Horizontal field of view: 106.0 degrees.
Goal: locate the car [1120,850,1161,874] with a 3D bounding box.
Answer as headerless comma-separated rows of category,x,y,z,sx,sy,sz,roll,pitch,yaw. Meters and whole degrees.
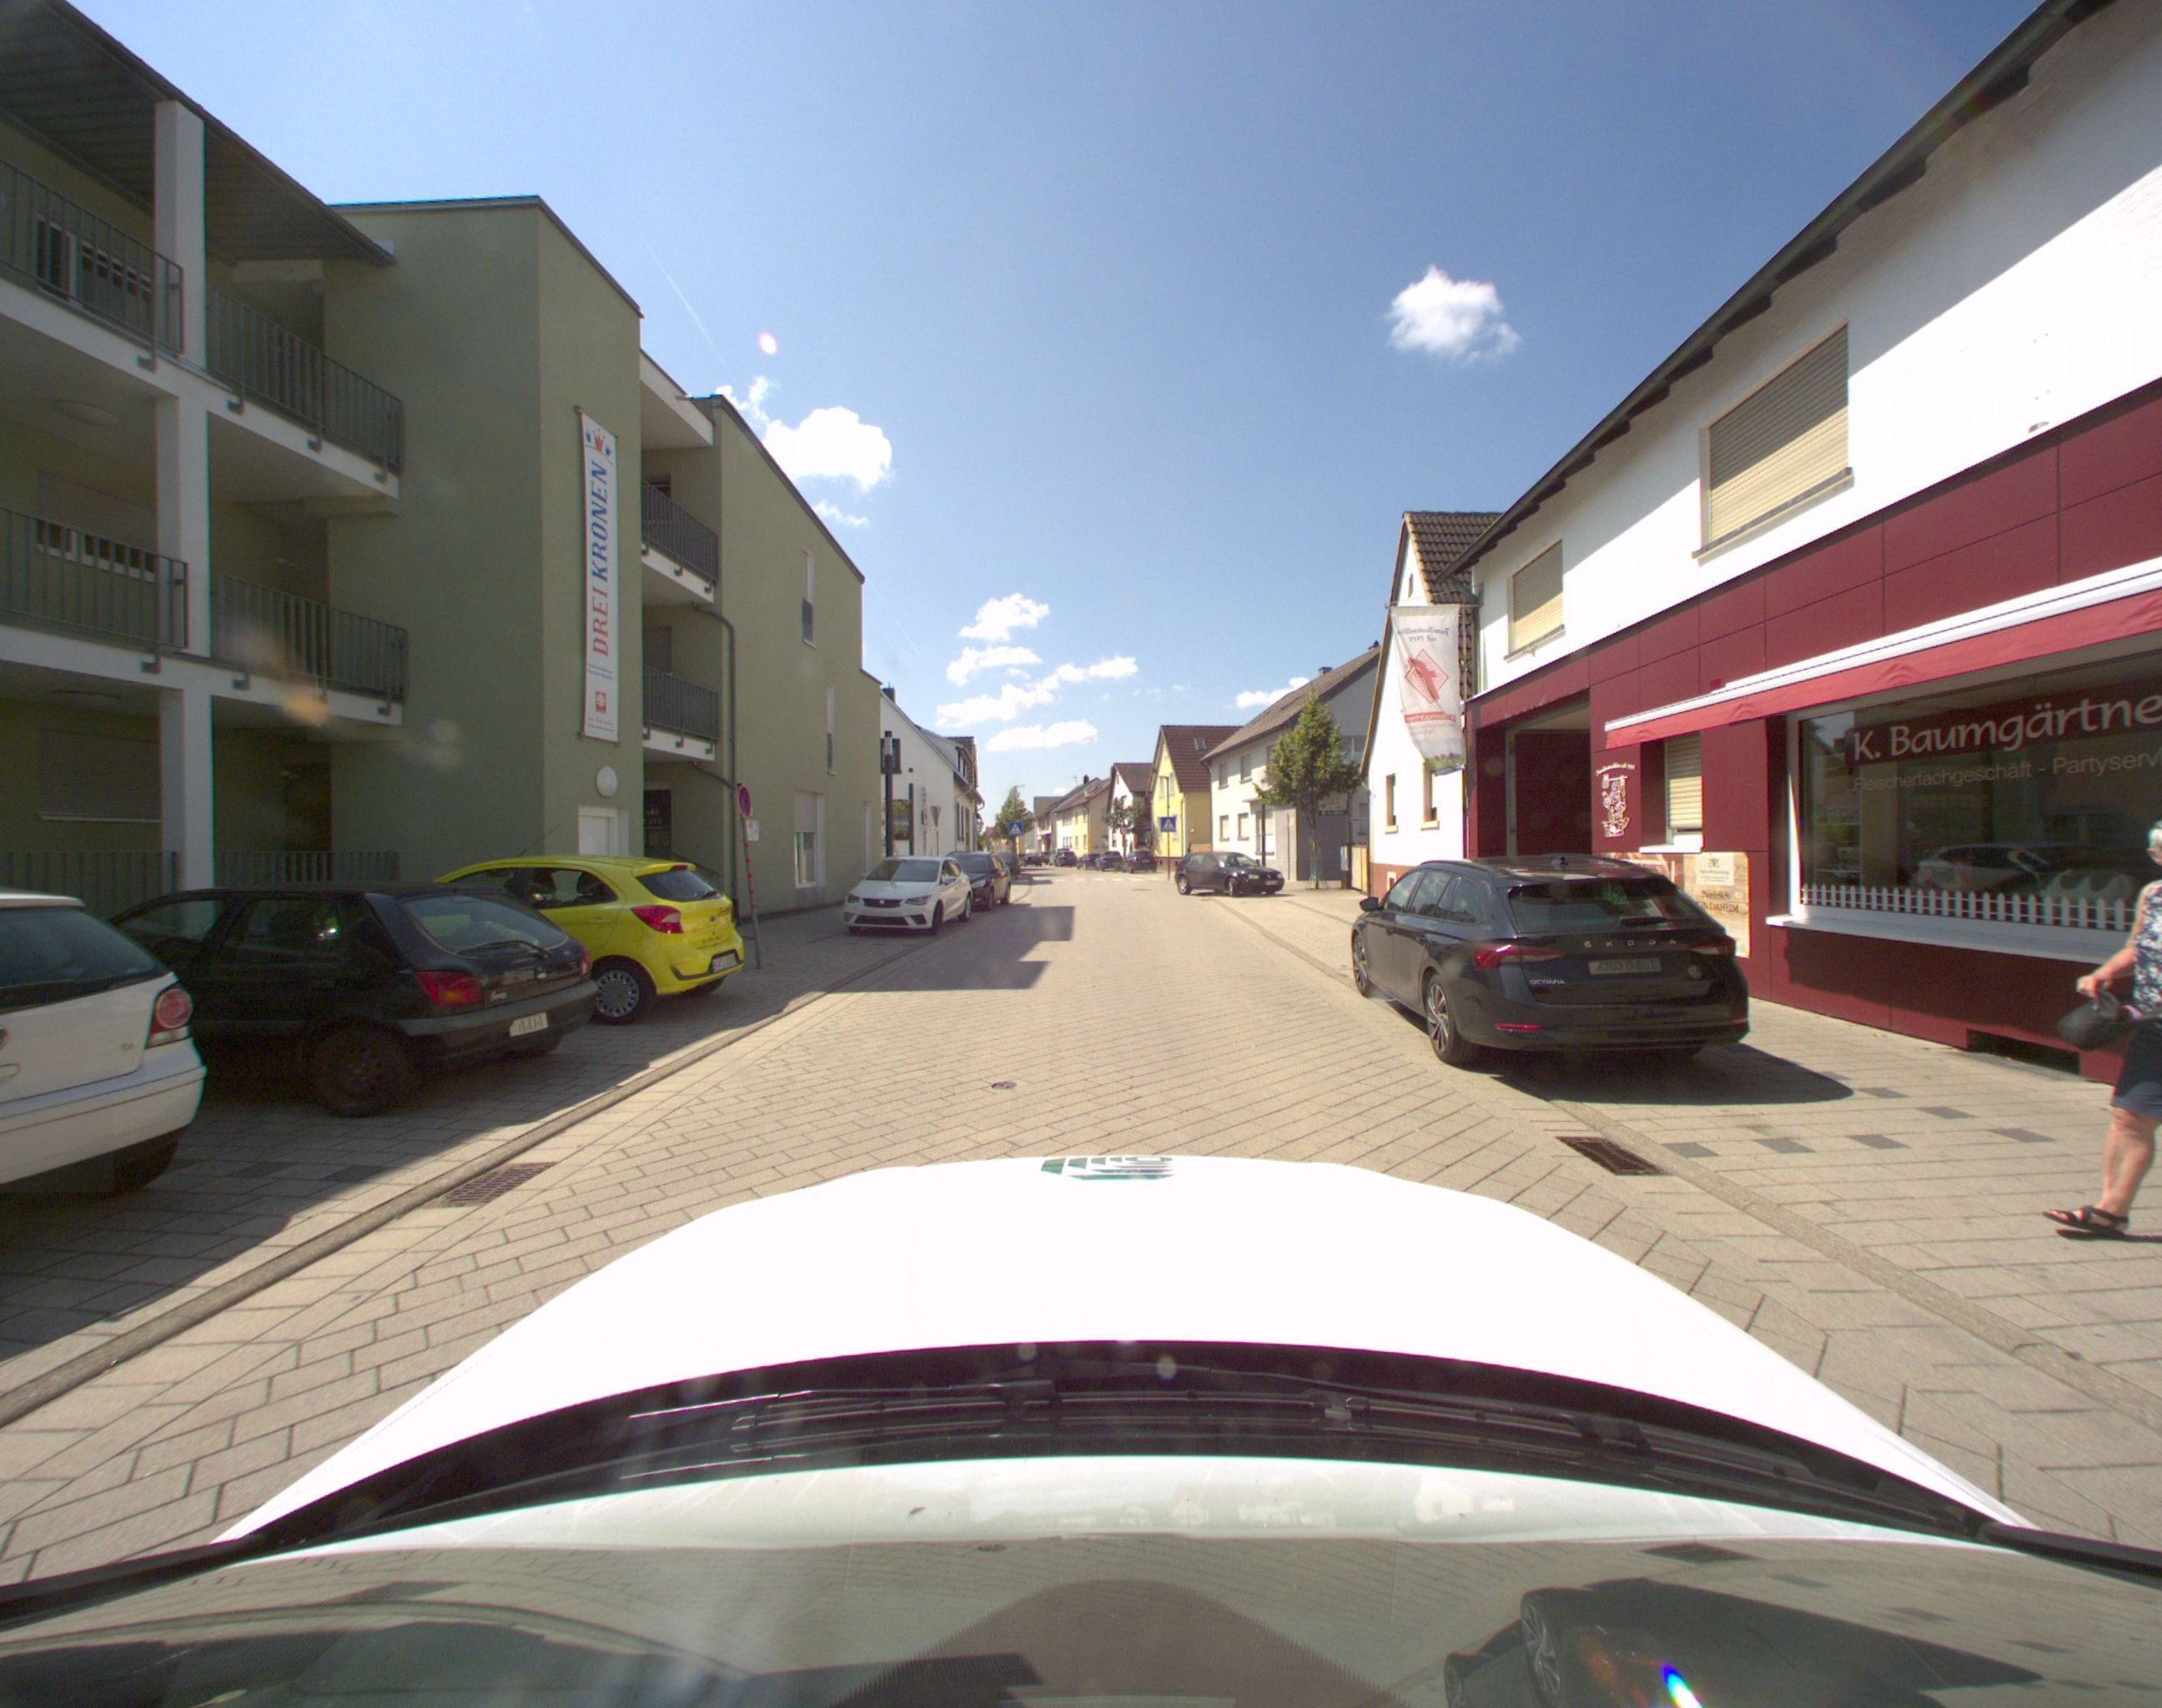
car,3.880,0.516,54.020,1.828,1.471,4.264,-3,0,-8

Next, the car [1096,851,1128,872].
car,2.357,0.572,63.447,1.845,1.562,3.683,-1,0,-8

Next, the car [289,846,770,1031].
car,-5.305,0.740,8.136,3.675,1.525,1.675,2,0,4

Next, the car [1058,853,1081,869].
car,-1.240,0.714,84.841,1.876,1.591,3.989,-1,0,-8

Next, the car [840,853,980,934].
car,-3.308,0.702,16.535,1.750,1.411,3.882,1,0,4

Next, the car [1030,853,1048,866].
car,-5.133,0.657,99.239,1.753,1.493,3.989,-1,0,-8

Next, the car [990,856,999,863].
car,-19.913,1.255,187.412,1.687,1.452,3.781,-1,0,-9

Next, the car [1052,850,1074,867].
car,-2.021,0.488,90.396,1.905,1.871,3.989,-1,0,-8

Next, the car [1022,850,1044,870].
car,-5.076,0.636,85.438,1.993,2.058,4.361,-1,0,-8

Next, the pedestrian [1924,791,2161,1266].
pedestrian,4.050,0.586,3.142,0.725,1.640,0.751,-4,-1,11

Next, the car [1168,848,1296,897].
car,4.801,0.575,26.425,1.771,1.438,4.078,-2,0,-31

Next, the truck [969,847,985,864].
truck,-25.757,0.304,201.588,3.566,3.953,8.550,-1,0,-11

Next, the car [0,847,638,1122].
car,-5.551,0.750,5.669,3.969,1.441,1.693,2,0,3

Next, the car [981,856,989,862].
car,-24.841,1.342,210.578,1.688,1.452,3.779,-1,0,-10

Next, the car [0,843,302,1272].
car,-5.795,0.690,3.212,3.882,1.502,1.753,2,0,5

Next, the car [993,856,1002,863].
car,-18.232,1.282,177.980,1.687,1.452,3.782,-1,0,-8

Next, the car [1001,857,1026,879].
car,-4.899,0.963,58.896,1.744,1.530,3.993,1,0,-5

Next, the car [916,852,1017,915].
car,-2.977,0.720,22.065,1.805,1.490,4.282,1,0,4

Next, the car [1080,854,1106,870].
car,1.039,0.685,71.282,1.709,1.387,3.695,-1,0,-8

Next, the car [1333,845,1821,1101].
car,3.617,0.714,7.111,1.848,1.459,4.594,-3,0,7
